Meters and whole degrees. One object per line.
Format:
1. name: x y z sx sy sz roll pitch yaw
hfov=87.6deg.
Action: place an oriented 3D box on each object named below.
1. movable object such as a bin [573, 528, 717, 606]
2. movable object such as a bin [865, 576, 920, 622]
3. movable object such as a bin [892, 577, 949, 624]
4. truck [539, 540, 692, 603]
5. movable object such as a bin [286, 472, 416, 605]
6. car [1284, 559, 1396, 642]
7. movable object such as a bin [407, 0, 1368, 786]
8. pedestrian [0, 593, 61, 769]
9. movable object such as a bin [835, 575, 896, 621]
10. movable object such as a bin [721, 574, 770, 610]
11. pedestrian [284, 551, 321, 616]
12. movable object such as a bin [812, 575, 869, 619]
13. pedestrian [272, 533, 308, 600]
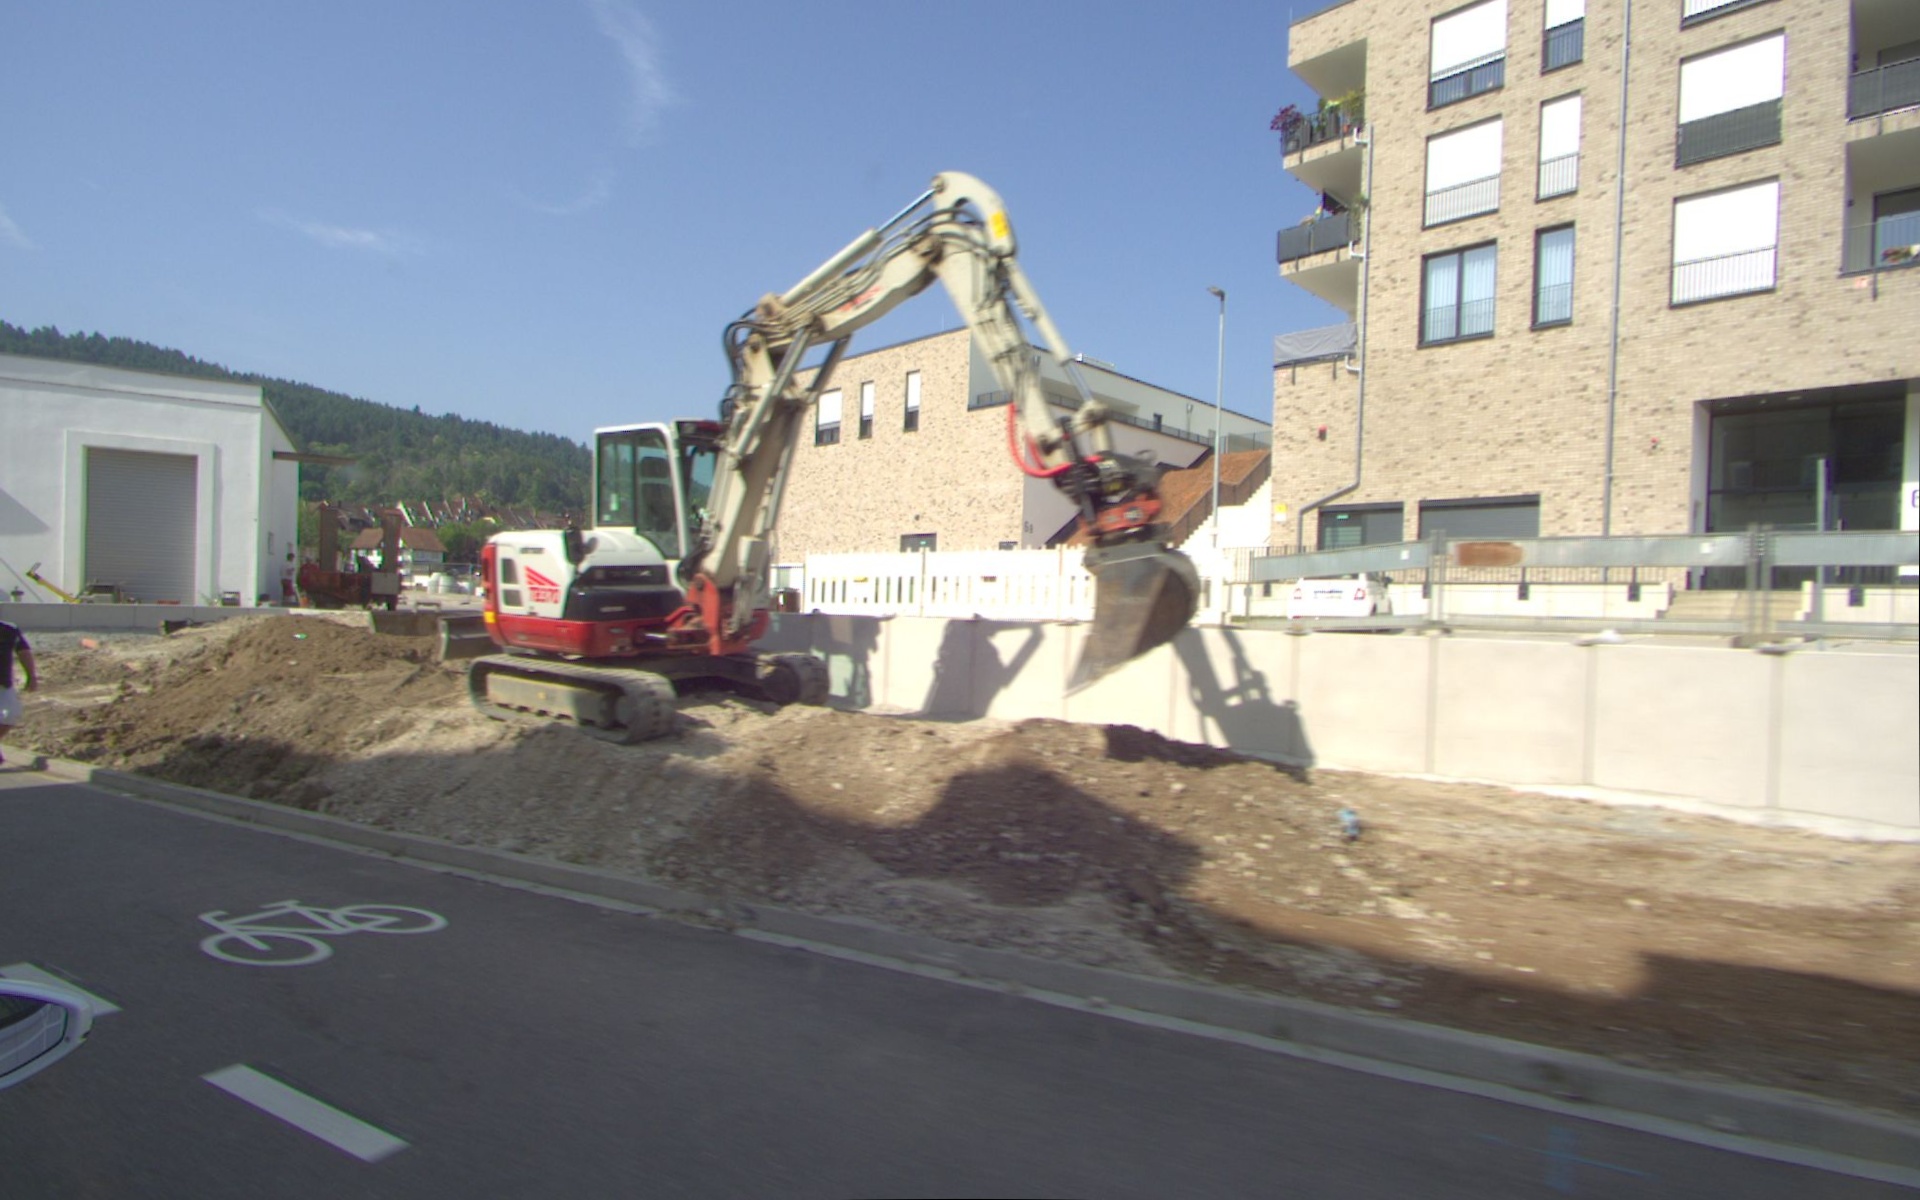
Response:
1. movable object such as a bin: -11.198 -1.109 35.727 4.566 2.604 1.912 0 1 -34
2. movable object such as a bin: -2.338 -0.024 34.711 1.304 1.482 1.294 3 -1 41
3. movable object such as a bin: -1.339 0.019 33.798 1.304 1.482 1.294 3 -1 41
4. truck: -13.272 -1.035 38.677 5.261 2.296 2.204 0 1 -33
5. movable object such as a bin: -19.437 -1.809 32.296 2.817 3.668 5.711 4 -1 -26
6. car: 7.722 0.013 20.201 1.571 1.515 3.399 0 0 30
7. movable object such as a bin: -1.167 -1.080 7.868 7.692 3.902 2.290 1 -2 35
8. pedestrian: -9.588 0.777 9.846 0.708 1.704 0.887 1 -2 31
9. movable object such as a bin: -3.384 -0.062 35.892 1.304 1.482 1.686 3 -2 41
10. movable object such as a bin: -8.382 -0.314 39.135 1.304 1.284 1.291 3 -2 41
11. pedestrian: -20.021 -0.499 30.501 0.624 1.921 0.608 4 -1 -2
12. movable object such as a bin: -4.422 -0.097 37.131 1.304 1.482 1.574 3 -2 41
13. pedestrian: -19.772 -0.975 29.557 0.597 1.921 0.634 4 -1 -17
